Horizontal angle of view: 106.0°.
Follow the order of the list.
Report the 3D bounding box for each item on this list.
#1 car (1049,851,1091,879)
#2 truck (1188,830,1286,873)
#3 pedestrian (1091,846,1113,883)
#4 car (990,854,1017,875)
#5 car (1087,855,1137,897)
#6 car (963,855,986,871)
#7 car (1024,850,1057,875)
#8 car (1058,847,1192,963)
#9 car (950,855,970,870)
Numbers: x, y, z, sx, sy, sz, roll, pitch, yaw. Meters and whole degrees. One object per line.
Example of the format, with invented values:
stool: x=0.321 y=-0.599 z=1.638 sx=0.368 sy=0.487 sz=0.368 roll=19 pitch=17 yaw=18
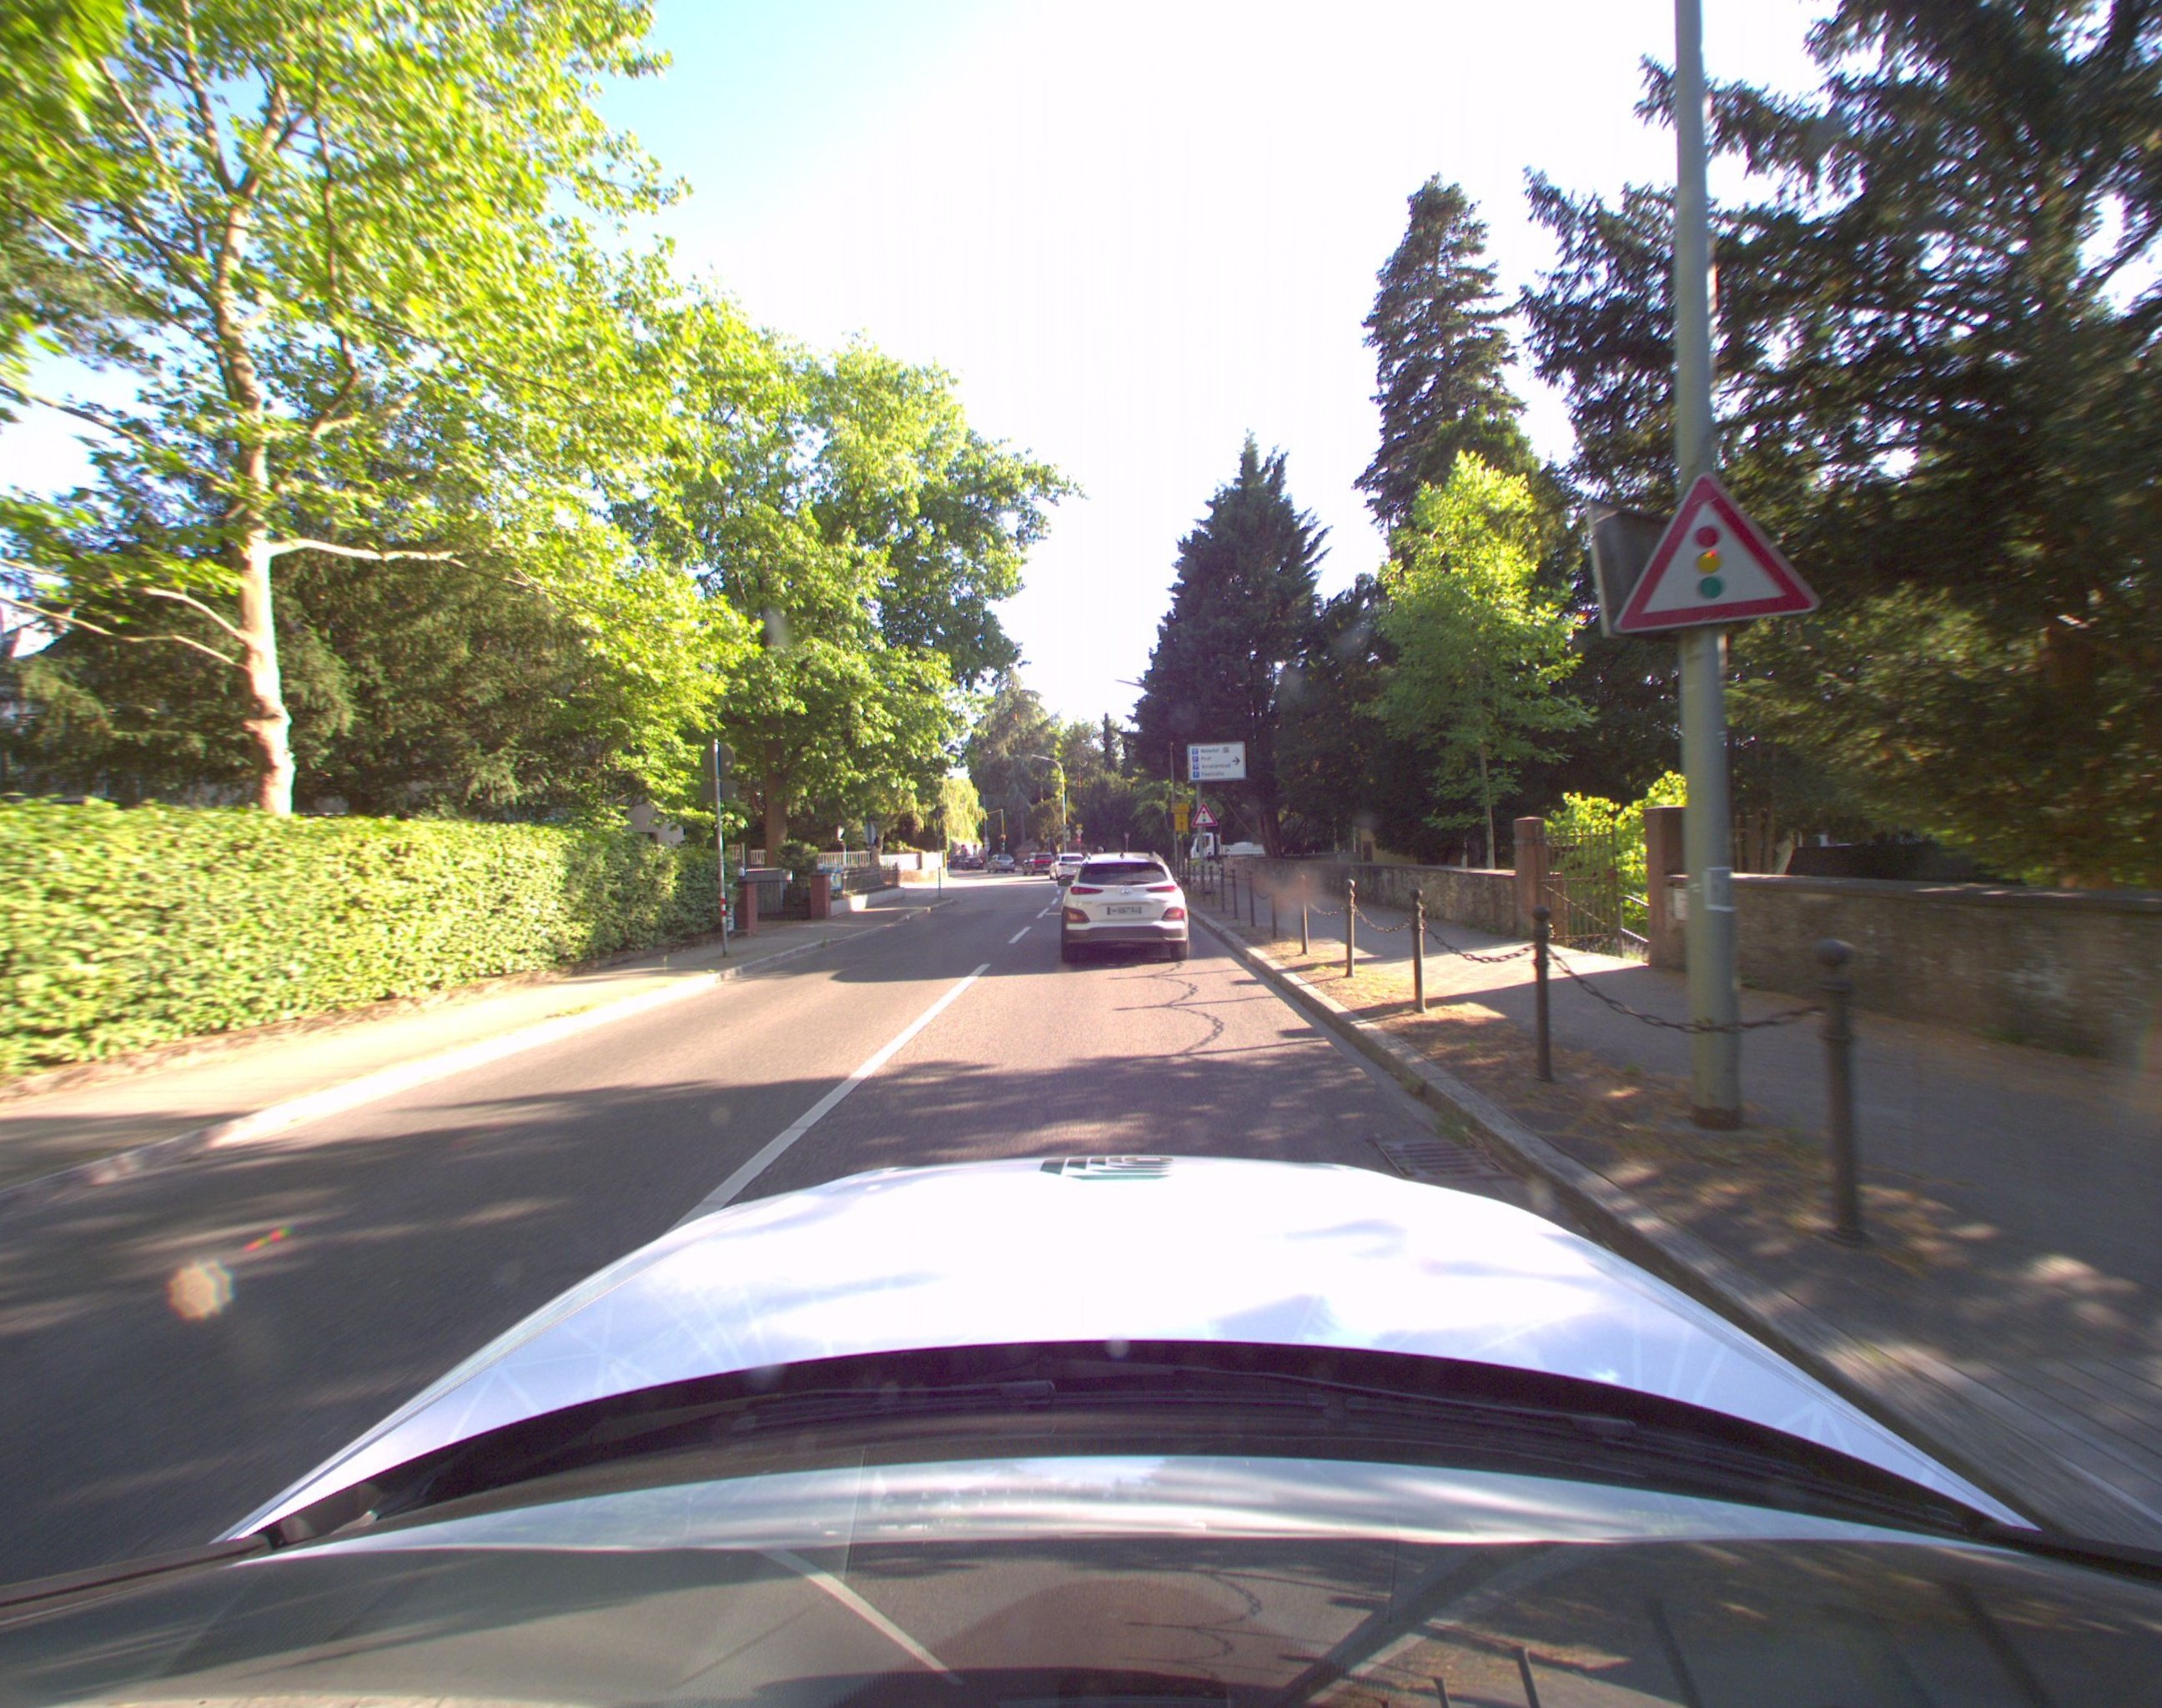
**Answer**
car: x=-0.669 y=0.613 z=46.757 sx=1.805 sy=1.537 sz=3.986 roll=0 pitch=0 yaw=-10
truck: x=10.831 y=-0.164 z=56.908 sx=6.553 sy=2.895 sz=2.438 roll=0 pitch=0 yaw=6
pedestrian: x=1.034 y=0.524 z=40.770 sx=0.947 sy=1.826 sz=0.548 roll=0 pitch=1 yaw=-37
car: x=-6.788 y=0.882 z=71.134 sx=1.834 sy=1.740 sz=3.981 roll=0 pitch=0 yaw=-14
car: x=1.114 y=0.743 z=29.910 sx=1.701 sy=1.434 sz=4.366 roll=0 pitch=0 yaw=2
car: x=-11.195 y=0.932 z=85.134 sx=1.835 sy=1.662 sz=3.979 roll=0 pitch=0 yaw=-16
car: x=-2.880 y=0.560 z=57.219 sx=1.831 sy=1.662 sz=3.987 roll=0 pitch=0 yaw=-10
car: x=0.649 y=0.693 z=13.071 sx=1.814 sy=1.574 sz=4.001 roll=0 pitch=0 yaw=1
car: x=-14.512 y=0.985 z=97.585 sx=1.836 sy=1.662 sz=3.977 roll=0 pitch=0 yaw=-17
